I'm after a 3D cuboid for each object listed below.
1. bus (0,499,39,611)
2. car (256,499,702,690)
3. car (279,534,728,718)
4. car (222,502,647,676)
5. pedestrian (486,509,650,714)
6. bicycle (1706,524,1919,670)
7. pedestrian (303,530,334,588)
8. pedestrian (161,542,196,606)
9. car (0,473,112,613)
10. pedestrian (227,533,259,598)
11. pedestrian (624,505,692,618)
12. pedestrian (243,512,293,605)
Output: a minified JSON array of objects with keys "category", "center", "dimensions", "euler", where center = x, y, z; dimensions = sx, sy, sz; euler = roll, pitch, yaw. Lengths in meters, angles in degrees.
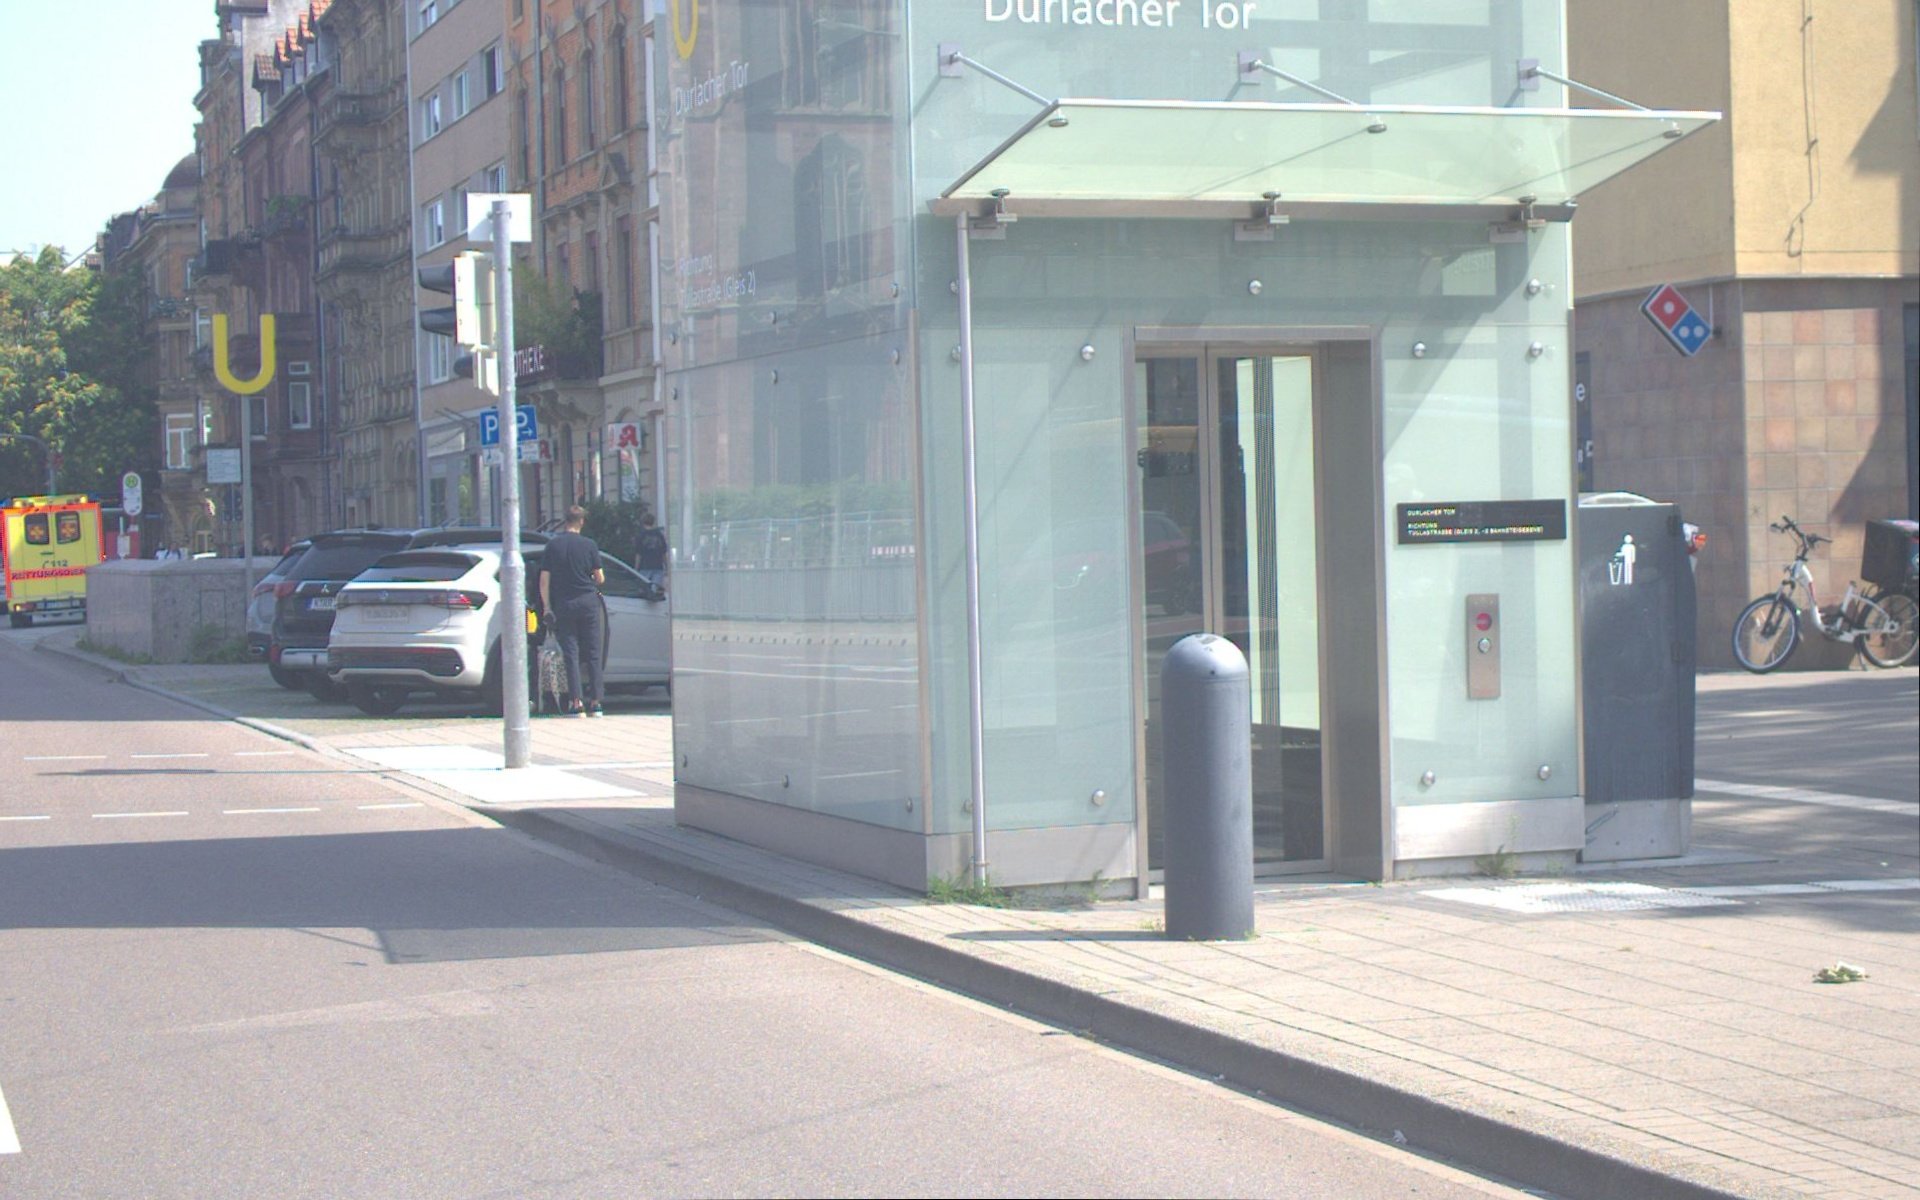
[{"category":"bus","center":[-28.341,-1.279,99.446],"dimensions":[2.533,3.021,12.439],"euler":[-2,1,-18]},{"category":"car","center":[-4.599,-0.093,33.531],"dimensions":[1.983,1.681,4.385],"euler":[-1,2,30]},{"category":"car","center":[-3.969,0.188,30.374],"dimensions":[1.805,1.495,3.777],"euler":[2,1,36]},{"category":"car","center":[-5.606,-0.160,37.295],"dimensions":[2.041,1.708,4.658],"euler":[-1,2,30]},{"category":"pedestrian","center":[-3.318,0.087,29.100],"dimensions":[1.035,1.698,0.904],"euler":[-1,1,-44]},{"category":"bicycle","center":[7.235,-0.032,28.443],"dimensions":[1.963,1.139,0.597],"euler":[-2,1,-3]},{"category":"pedestrian","center":[-16.654,-1.067,89.192],"dimensions":[0.643,1.488,0.789],"euler":[-2,1,-19]},{"category":"pedestrian","center":[-20.650,-0.681,90.809],"dimensions":[0.697,1.661,0.603],"euler":[-1,1,8]},{"category":"car","center":[-19.997,-1.274,75.822],"dimensions":[2.298,2.878,5.601],"euler":[-3,2,-14]},{"category":"pedestrian","center":[-18.513,-0.901,88.764],"dimensions":[0.696,1.661,1.065],"euler":[-1,1,-16]},{"category":"pedestrian","center":[-5.060,-0.653,57.603],"dimensions":[0.841,1.839,0.686],"euler":[-4,2,-27]},{"category":"pedestrian","center":[-13.393,-0.805,66.529],"dimensions":[0.849,1.723,0.971],"euler":[-3,4,-12]}]
